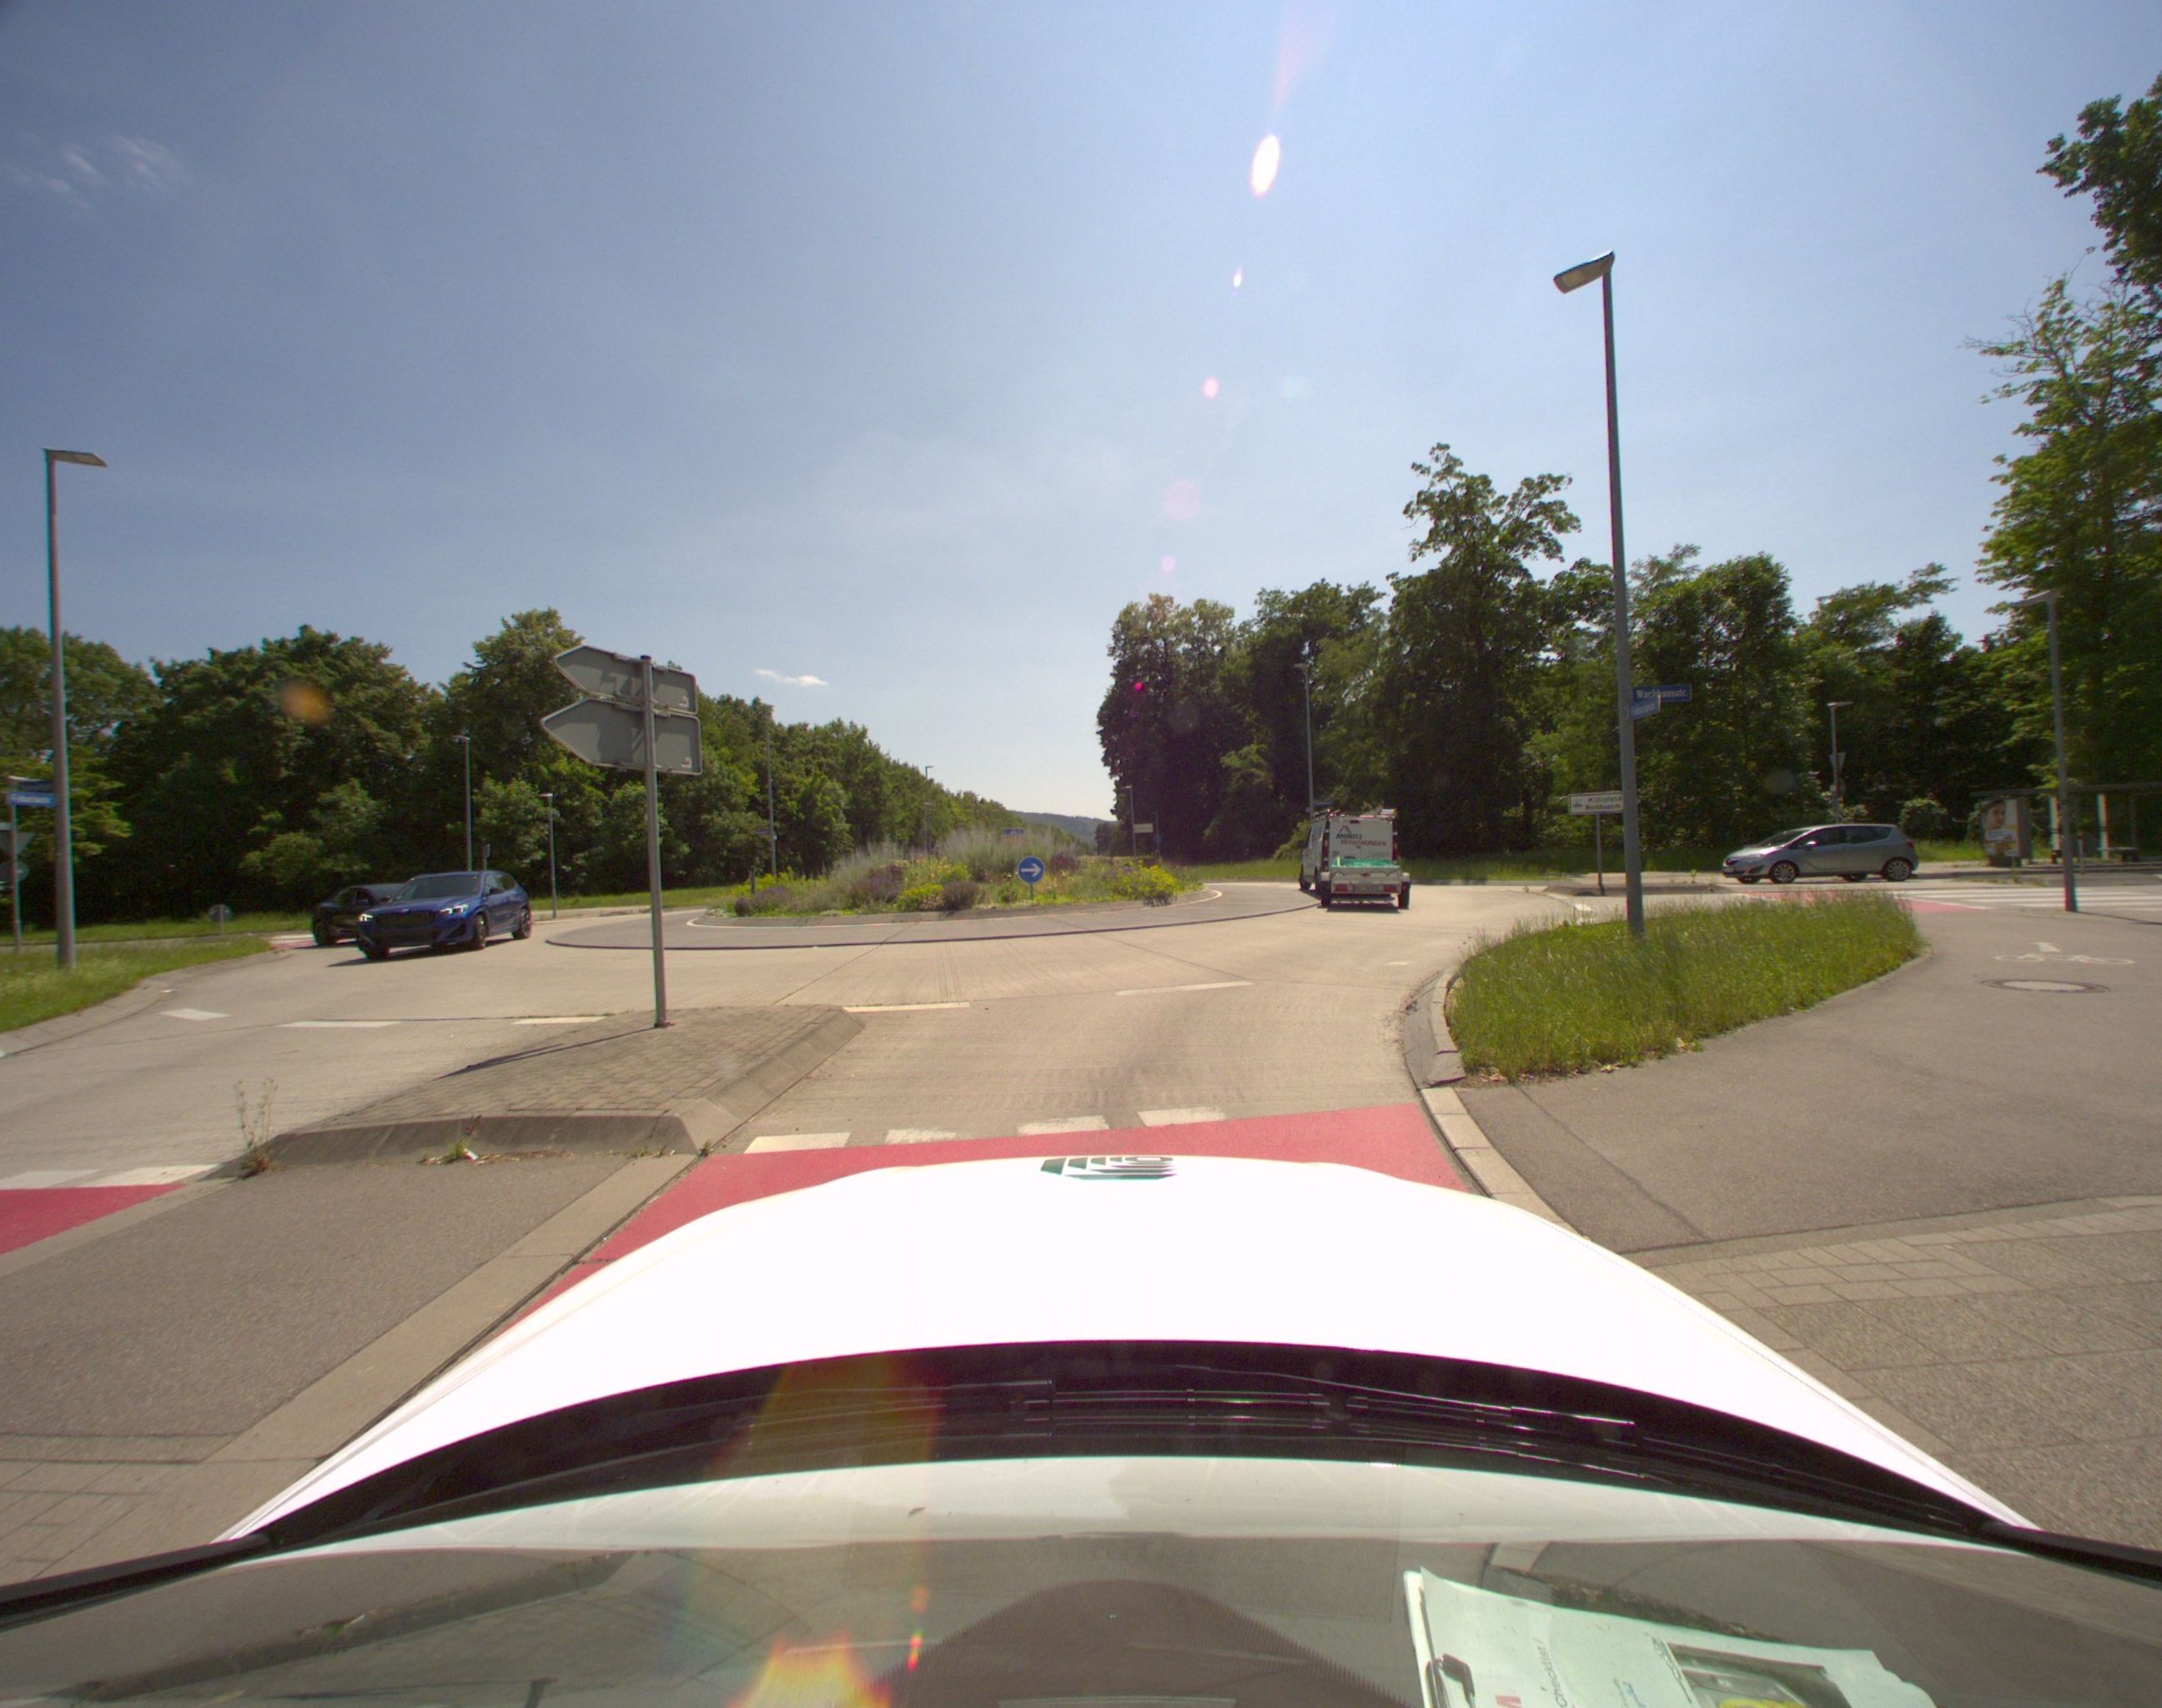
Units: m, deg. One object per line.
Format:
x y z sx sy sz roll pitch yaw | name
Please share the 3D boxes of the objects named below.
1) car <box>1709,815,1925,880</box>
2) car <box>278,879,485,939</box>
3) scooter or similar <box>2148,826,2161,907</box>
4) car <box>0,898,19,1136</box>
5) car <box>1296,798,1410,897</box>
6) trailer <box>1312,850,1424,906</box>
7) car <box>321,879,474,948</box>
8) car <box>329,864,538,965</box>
20.256 -0.158 22.600 4.086 1.607 1.796 -2 -1 12 | car
-19.405 1.512 22.676 4.517 1.494 1.965 -2 -1 11 | car
16.040 0.179 11.615 0.442 1.201 1.407 -2 -1 29 | scooter or similar
-7.183 1.069 2.850 1.998 1.478 4.265 -4 1 -16 | car
7.176 -0.132 22.025 2.153 2.316 4.995 -2 0 10 | car
6.228 0.494 18.030 2.105 1.097 3.368 -2 0 16 | trailer
-18.868 1.588 22.428 4.695 1.639 2.013 -2 0 35 | car
-13.170 1.120 16.947 2.000 1.595 4.294 -4 2 -19 | car
